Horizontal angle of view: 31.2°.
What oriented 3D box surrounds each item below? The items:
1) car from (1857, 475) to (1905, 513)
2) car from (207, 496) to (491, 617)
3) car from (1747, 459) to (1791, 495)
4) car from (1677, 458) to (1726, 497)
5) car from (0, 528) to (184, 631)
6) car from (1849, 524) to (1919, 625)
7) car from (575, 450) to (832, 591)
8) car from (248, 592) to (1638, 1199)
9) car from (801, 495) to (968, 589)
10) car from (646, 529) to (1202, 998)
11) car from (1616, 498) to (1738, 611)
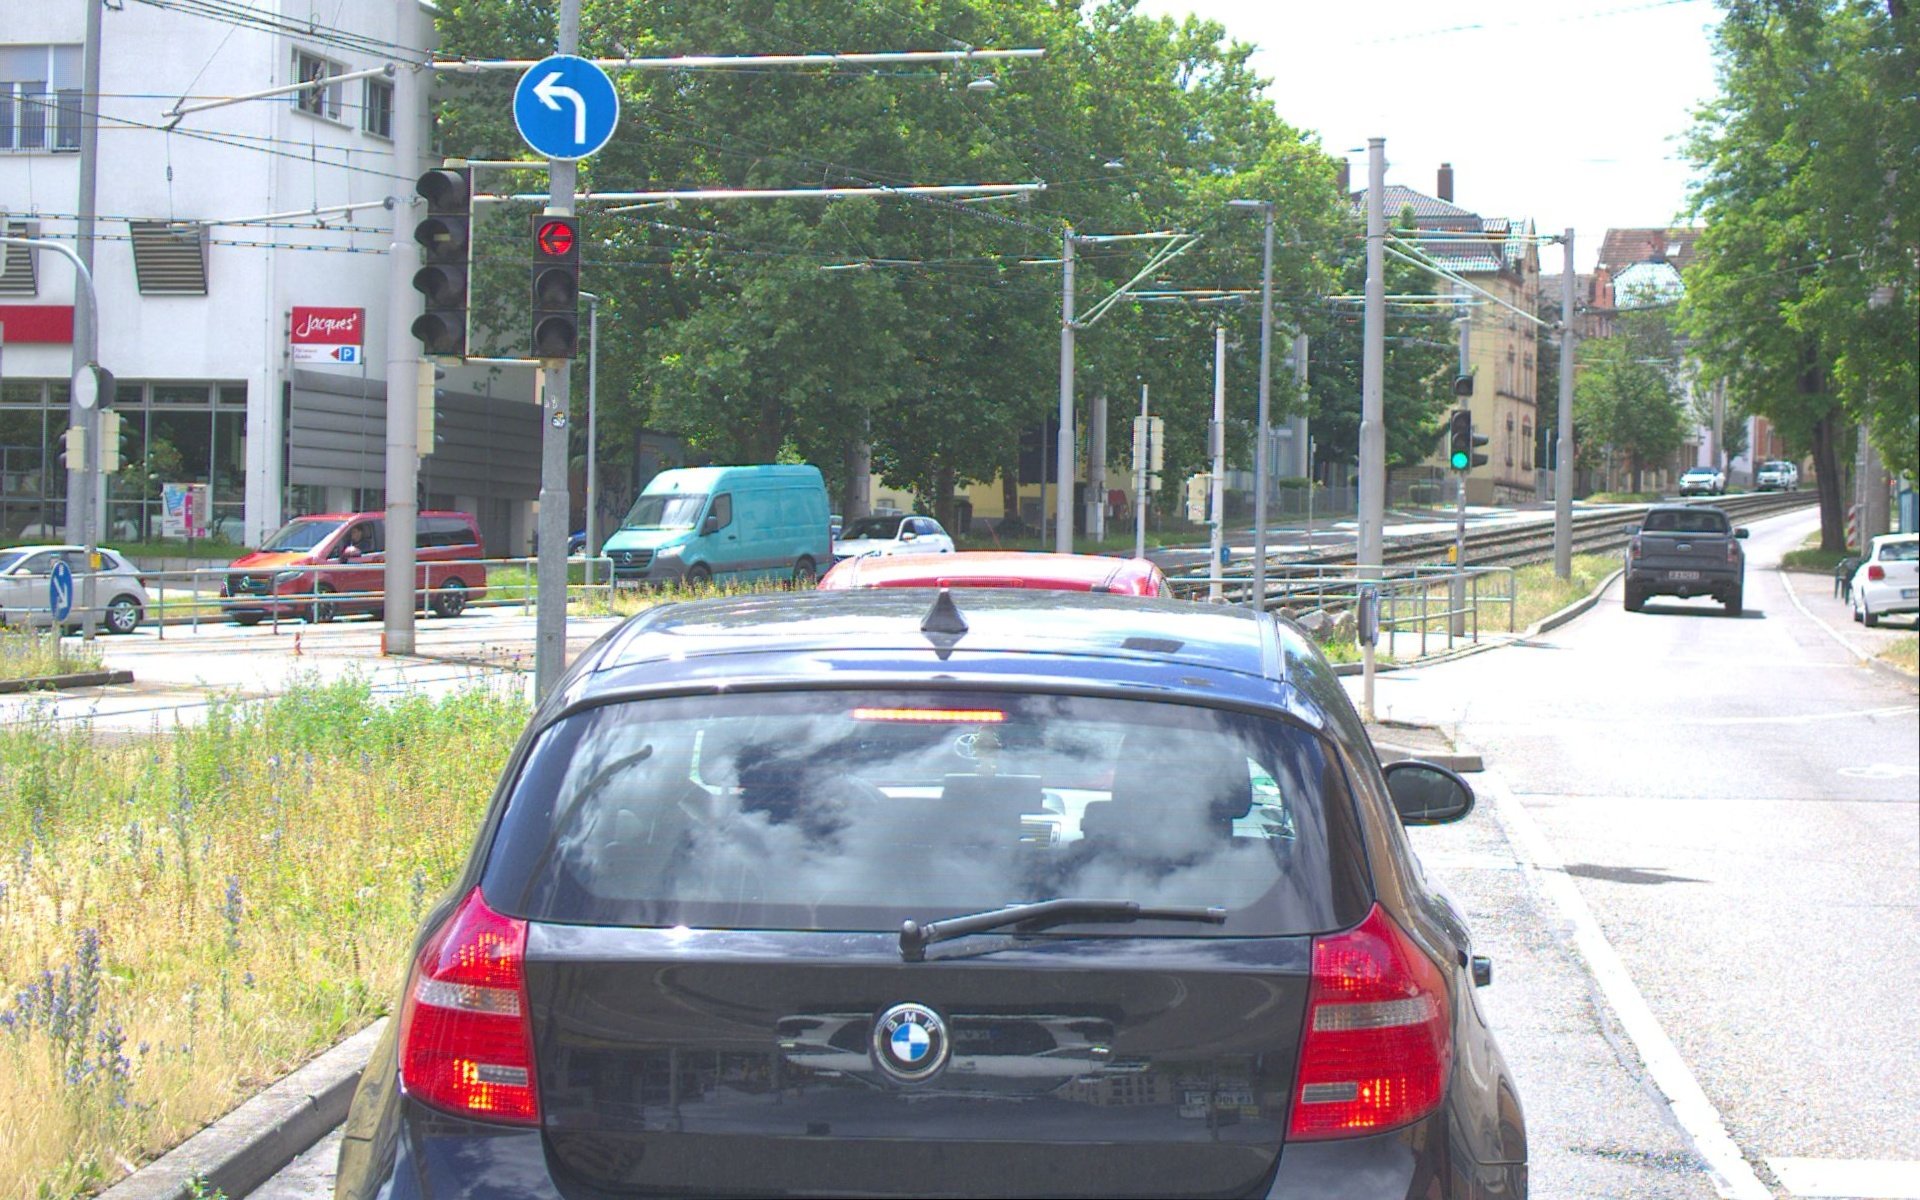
[{"bbox_3d":[43.763,-5.034,163.319,1.995,1.656,3.996,0,0,18],"label":"car"},{"bbox_3d":[-10.457,-0.731,59.158,1.857,2.002,4.787,0,0,38],"label":"car"},{"bbox_3d":[48.723,-7.399,207.041,1.996,2.007,3.996,0,0,21],"label":"car"},{"bbox_3d":[40.491,-6.691,187.743,1.996,2.007,3.996,0,0,21],"label":"car"},{"bbox_3d":[-14.535,-0.324,54.174,1.857,1.579,4.159,0,0,43],"label":"car"},{"bbox_3d":[15.463,-0.413,55.958,1.788,1.590,3.998,0,0,13],"label":"car"},{"bbox_3d":[-4.986,-1.517,67.777,2.134,2.645,5.680,0,0,31],"label":"car"},{"bbox_3d":[-0.108,0.718,6.215,1.701,1.447,4.000,0,0,-3],"label":"car"},{"bbox_3d":[-1.574,-1.216,73.809,1.855,1.921,4.792,0,0,21],"label":"car"},{"bbox_3d":[0.020,0.508,12.825,1.625,1.468,3.999,0,0,6],"label":"car"},{"bbox_3d":[12.611,-0.780,60.370,2.000,1.880,5.147,0,0,12],"label":"car"}]
